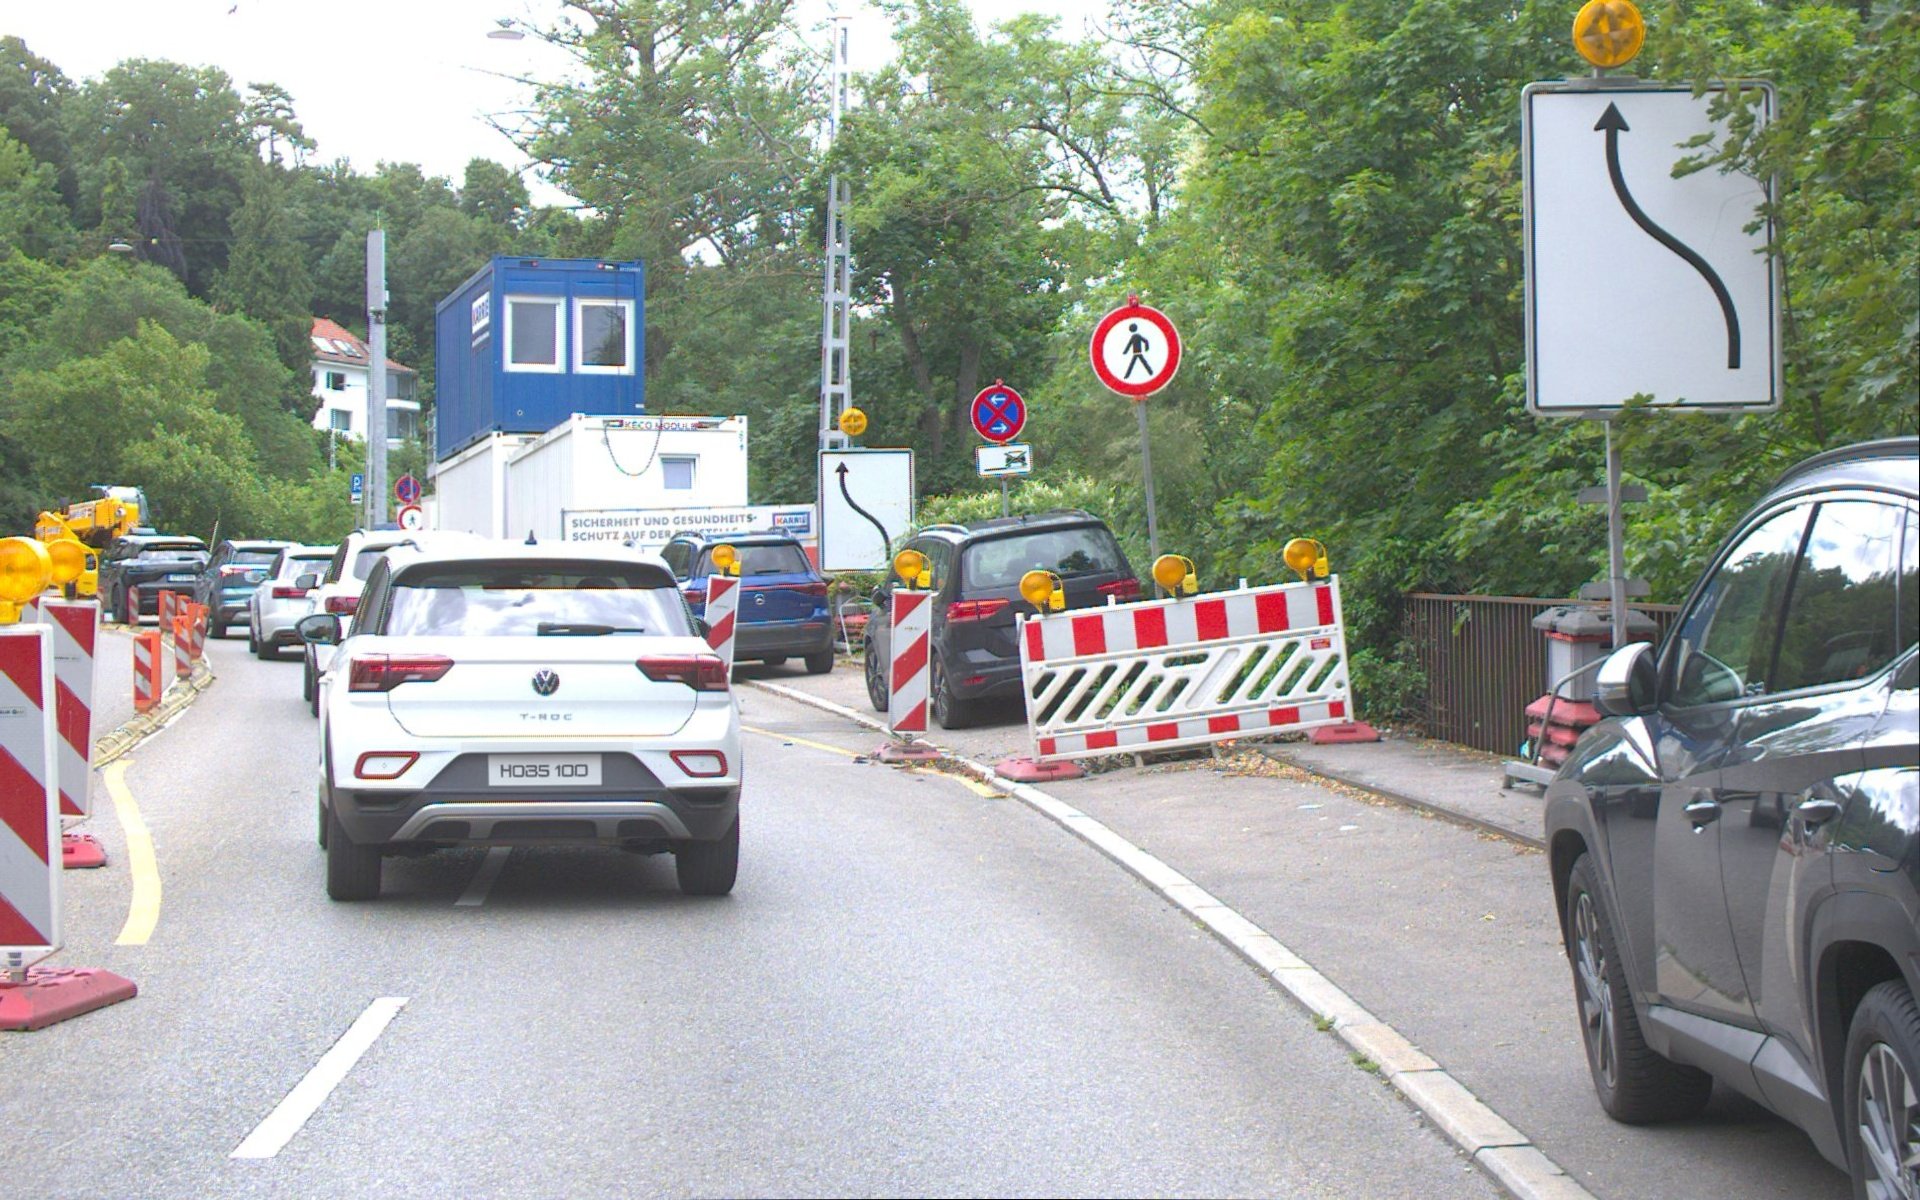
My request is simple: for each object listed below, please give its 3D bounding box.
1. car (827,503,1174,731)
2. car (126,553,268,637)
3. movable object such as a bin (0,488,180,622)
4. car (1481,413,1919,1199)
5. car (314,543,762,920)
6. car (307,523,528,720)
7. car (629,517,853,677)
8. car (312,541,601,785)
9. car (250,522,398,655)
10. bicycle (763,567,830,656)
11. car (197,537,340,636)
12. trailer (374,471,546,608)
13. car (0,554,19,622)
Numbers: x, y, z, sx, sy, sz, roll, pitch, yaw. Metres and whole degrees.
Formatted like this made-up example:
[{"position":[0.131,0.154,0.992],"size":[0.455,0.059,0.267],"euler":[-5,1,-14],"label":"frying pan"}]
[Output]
[{"position":[0.246,0.096,29.634],"size":[1.861,1.668,4.648],"euler":[-5,2,-12],"label":"car"},{"position":[-14.214,-0.114,63.906],"size":[1.794,1.505,4.001],"euler":[0,1,-24],"label":"car"},{"position":[-21.658,-1.128,83.974],"size":[2.811,3.060,7.824],"euler":[2,0,-30],"label":"movable object such as a bin"},{"position":[2.435,0.426,7.251],"size":[1.853,1.668,4.279],"euler":[-5,1,0],"label":"car"},{"position":[-2.086,0.499,16.050],"size":[1.809,1.526,4.001],"euler":[0,1,-11],"label":"car"},{"position":[-4.955,0.149,31.031],"size":[1.809,1.657,4.001],"euler":[0,1,-11],"label":"car"},{"position":[-2.607,-0.070,39.918],"size":[1.839,1.637,4.504],"euler":[-4,2,-12],"label":"car"},{"position":[-3.511,0.363,23.677],"size":[1.809,1.526,4.001],"euler":[0,1,-10],"label":"car"},{"position":[-8.306,-0.173,44.786],"size":[1.809,1.657,4.001],"euler":[0,1,-11],"label":"car"},{"position":[-2.150,0.140,44.992],"size":[0.498,1.104,1.801],"euler":[-2,1,-14],"label":"bicycle"},{"position":[-11.028,-0.236,54.678],"size":[1.794,1.505,4.001],"euler":[0,1,-18],"label":"car"},{"position":[-9.766,-1.177,66.806],"size":[2.106,2.541,5.120],"euler":[-1,1,-22],"label":"trailer"},{"position":[-22.620,-0.283,78.102],"size":[1.794,1.505,4.001],"euler":[0,1,-24],"label":"car"}]
